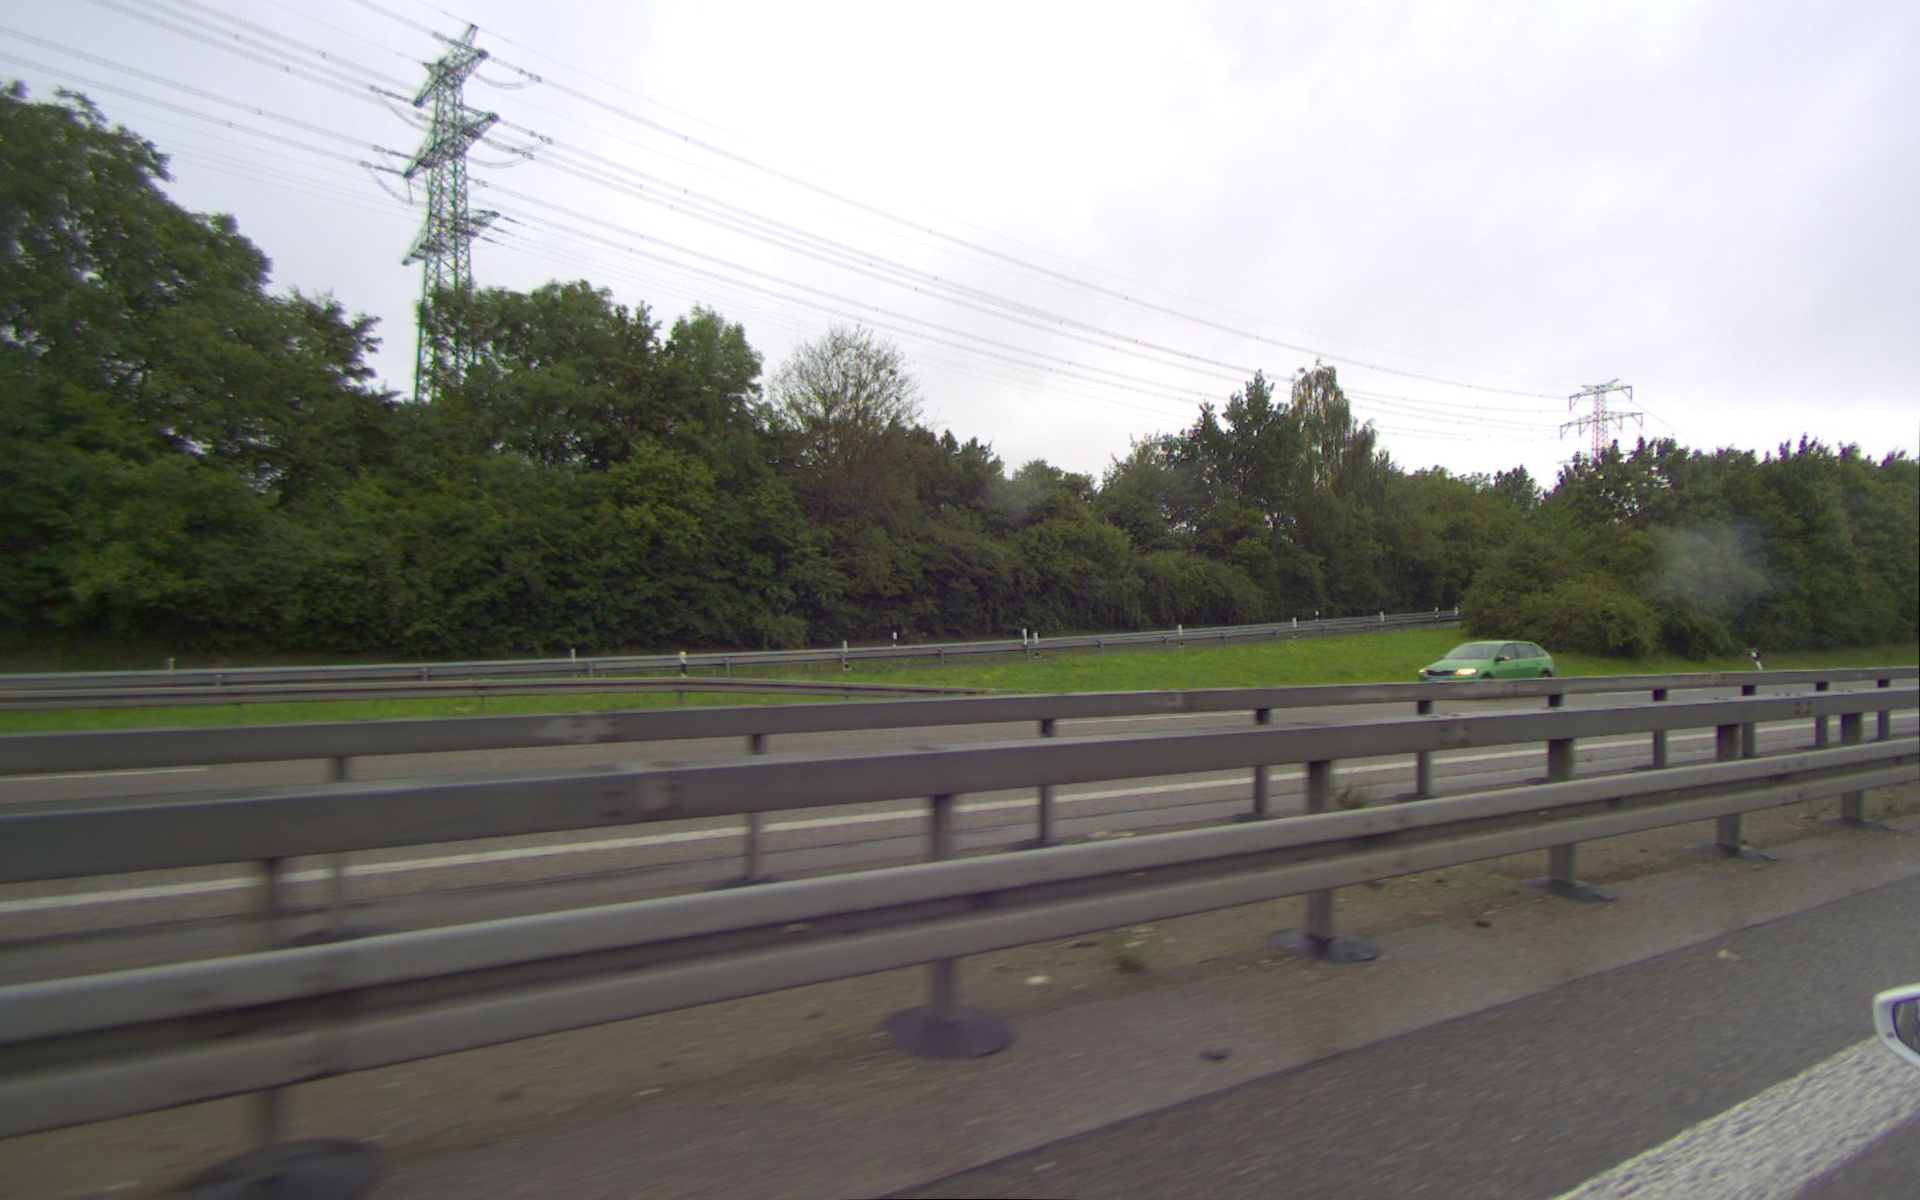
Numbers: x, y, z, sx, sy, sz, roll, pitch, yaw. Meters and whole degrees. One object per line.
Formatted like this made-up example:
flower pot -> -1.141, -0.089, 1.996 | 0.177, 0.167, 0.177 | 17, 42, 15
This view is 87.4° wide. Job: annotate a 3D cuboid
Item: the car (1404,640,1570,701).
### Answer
car -> 14.104, 1.838, 26.815 | 4.461, 1.513, 1.866 | 1, -3, -31
